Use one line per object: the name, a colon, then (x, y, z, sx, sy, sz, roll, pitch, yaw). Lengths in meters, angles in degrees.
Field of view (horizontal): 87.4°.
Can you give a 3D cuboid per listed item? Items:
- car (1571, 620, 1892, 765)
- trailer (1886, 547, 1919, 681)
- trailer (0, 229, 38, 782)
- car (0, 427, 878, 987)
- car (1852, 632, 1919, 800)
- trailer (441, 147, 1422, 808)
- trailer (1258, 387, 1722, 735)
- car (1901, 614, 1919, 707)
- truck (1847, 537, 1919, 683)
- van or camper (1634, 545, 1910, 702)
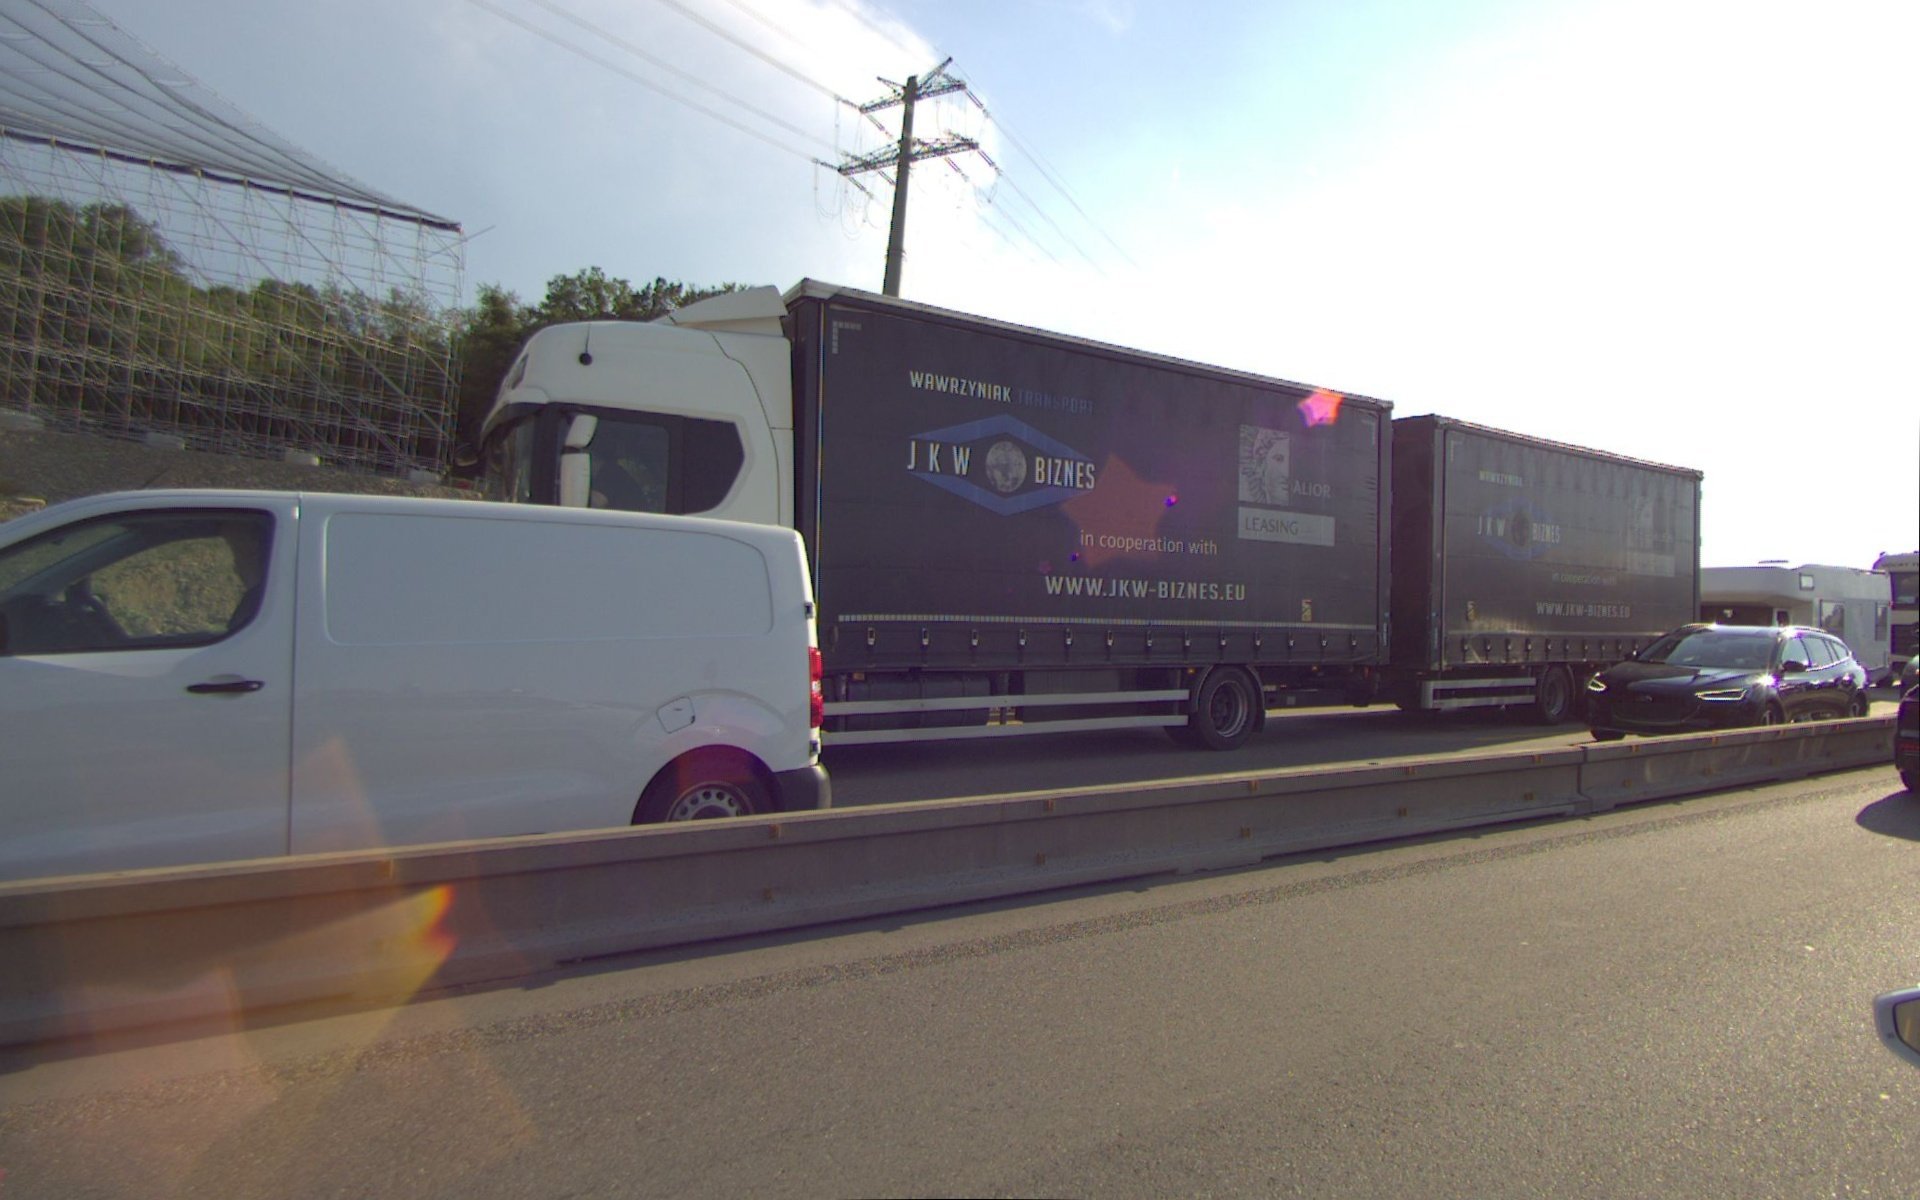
car: (9.721, 1.072, 12.558, 4.551, 1.498, 1.671, 2, -1, -32)
trailer: (32.921, 0.617, 31.672, 13.837, 3.774, 2.503, 2, -1, -35)
trailer: (-11.560, -0.806, 3.518, 11.916, 3.840, 2.295, 2, -1, -31)
car: (-2.949, 0.404, 4.814, 4.783, 1.951, 1.807, 2, -1, -32)
car: (10.543, 1.057, 9.416, 4.905, 1.417, 1.924, 2, 0, -32)
trailer: (0.565, -0.652, 10.503, 10.396, 4.386, 2.462, 2, -1, -33)
trailer: (8.498, -0.350, 15.556, 8.450, 4.244, 2.429, 2, -1, -32)
car: (19.849, 1.187, 19.265, 4.409, 1.718, 1.745, 2, -1, -35)
truck: (27.625, 0.367, 28.101, 6.448, 3.804, 2.585, 2, -1, -33)
van or camper: (17.734, 0.559, 21.753, 7.536, 2.930, 2.394, 2, -1, -33)
